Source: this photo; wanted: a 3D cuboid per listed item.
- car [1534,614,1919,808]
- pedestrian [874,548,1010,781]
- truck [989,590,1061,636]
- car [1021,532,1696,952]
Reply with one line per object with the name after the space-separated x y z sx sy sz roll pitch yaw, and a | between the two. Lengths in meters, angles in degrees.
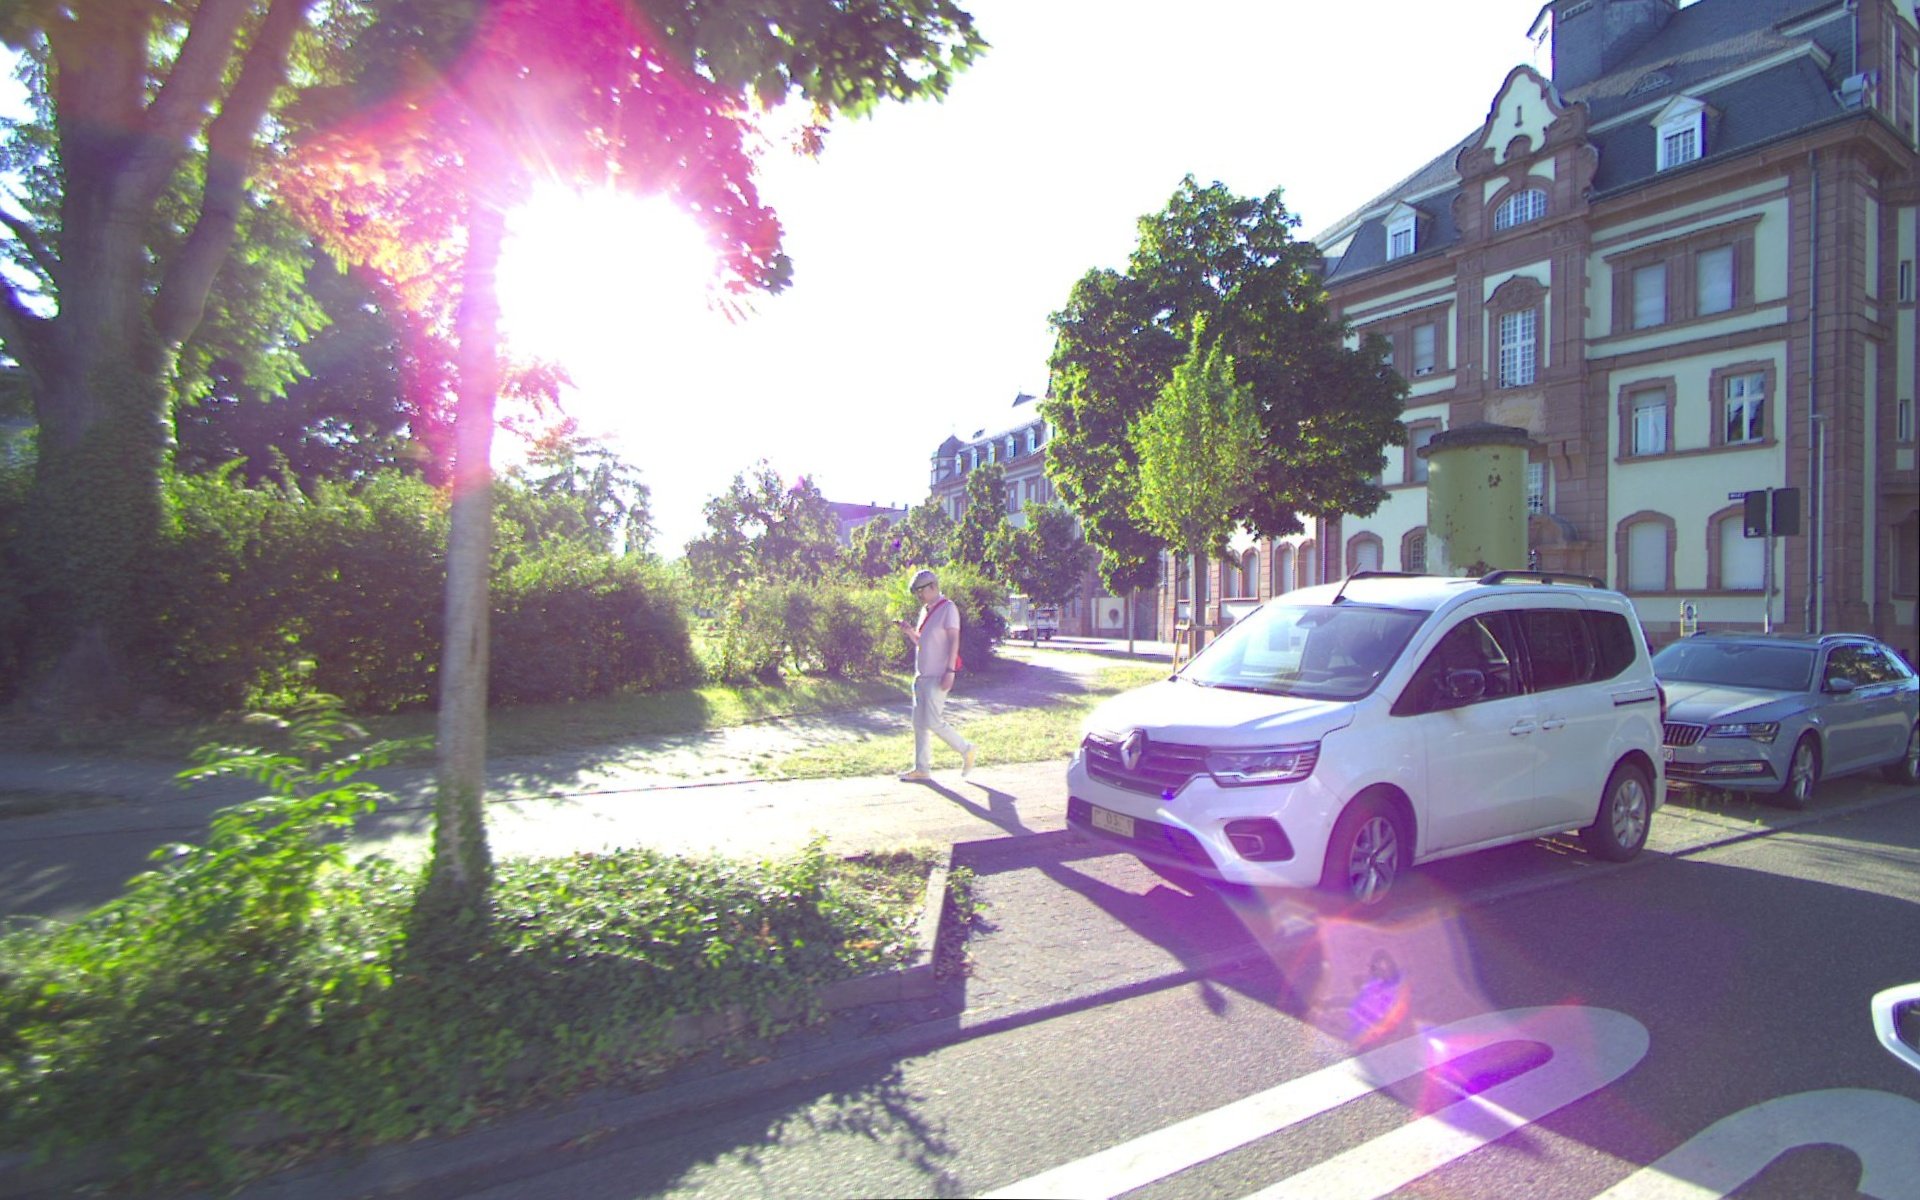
7.826 0.945 9.981 4.502 1.525 1.771 2 -1 -32 | car
-0.145 0.512 8.301 0.937 1.808 0.595 1 -1 -35 | pedestrian
4.558 0.930 72.293 2.570 3.069 7.981 1 -1 -16 | truck
2.725 0.677 6.457 4.504 1.865 1.771 1 -1 -33 | car
